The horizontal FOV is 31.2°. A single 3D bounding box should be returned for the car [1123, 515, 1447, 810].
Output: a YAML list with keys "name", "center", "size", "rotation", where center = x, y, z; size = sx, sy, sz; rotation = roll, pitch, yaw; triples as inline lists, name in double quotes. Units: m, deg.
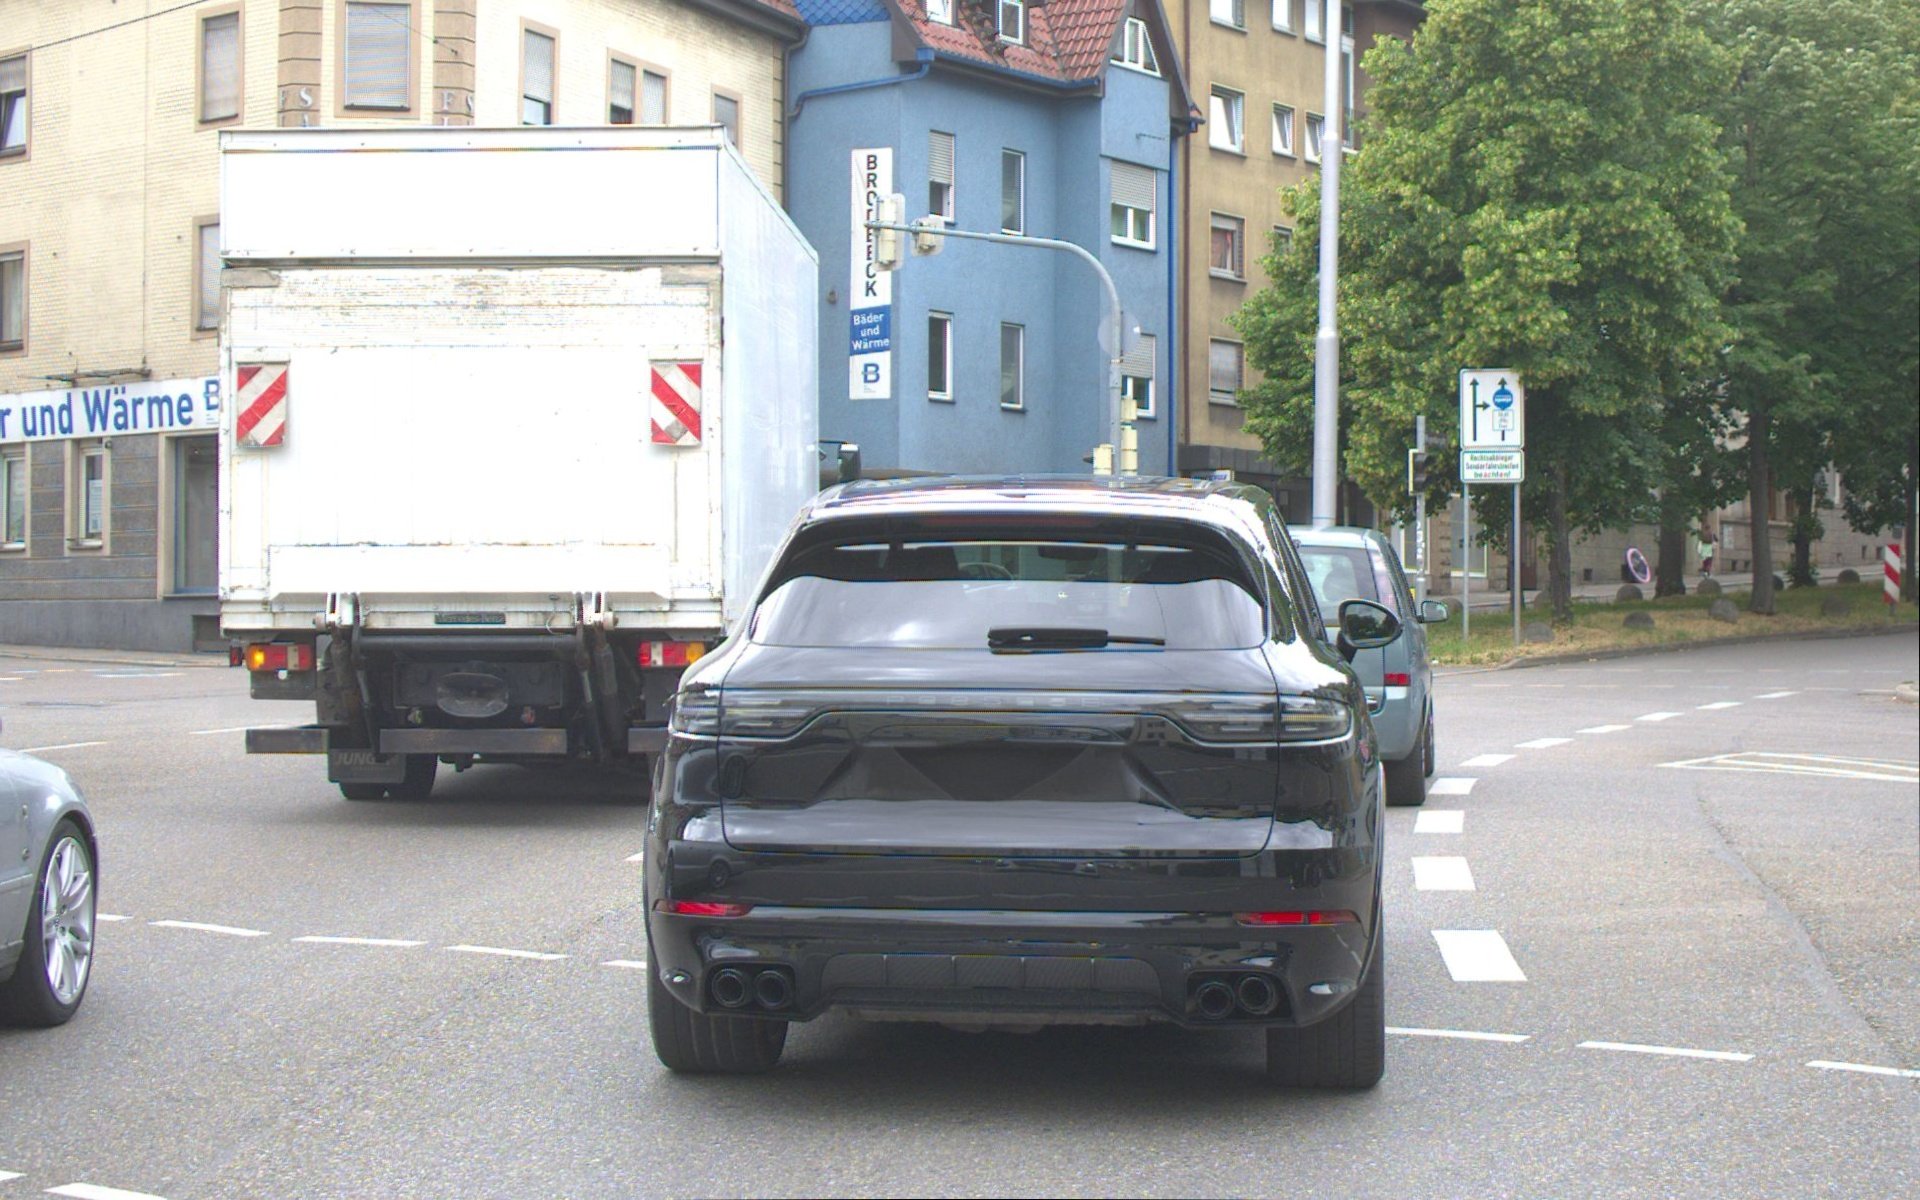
- name: "car"
  center: [2.019, 0.331, 20.538]
  size: [1.649, 1.550, 3.581]
  rotation: [2, 0, 9]

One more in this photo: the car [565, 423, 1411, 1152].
- name: "car"
  center: [0.299, 0.399, 10.567]
  size: [2.032, 1.717, 4.499]
  rotation: [1, 1, 6]

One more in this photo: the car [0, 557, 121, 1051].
- name: "car"
  center: [-3.516, 0.573, 8.635]
  size: [1.629, 1.360, 4.128]
  rotation: [2, 1, 2]

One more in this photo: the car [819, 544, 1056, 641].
- name: "car"
  center: [-0.312, -0.123, 54.865]
  size: [1.720, 1.471, 4.210]
  rotation: [-1, 0, 34]

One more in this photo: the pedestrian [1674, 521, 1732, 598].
- name: "pedestrian"
  center: [19.634, -1.075, 90.843]
  size: [1.194, 2.007, 0.987]
  rotation: [2, 1, 31]

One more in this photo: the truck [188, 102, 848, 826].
- name: "truck"
  center: [-2.324, -0.742, 21.167]
  size: [2.725, 3.532, 8.421]
  rotation: [1, 1, 2]
